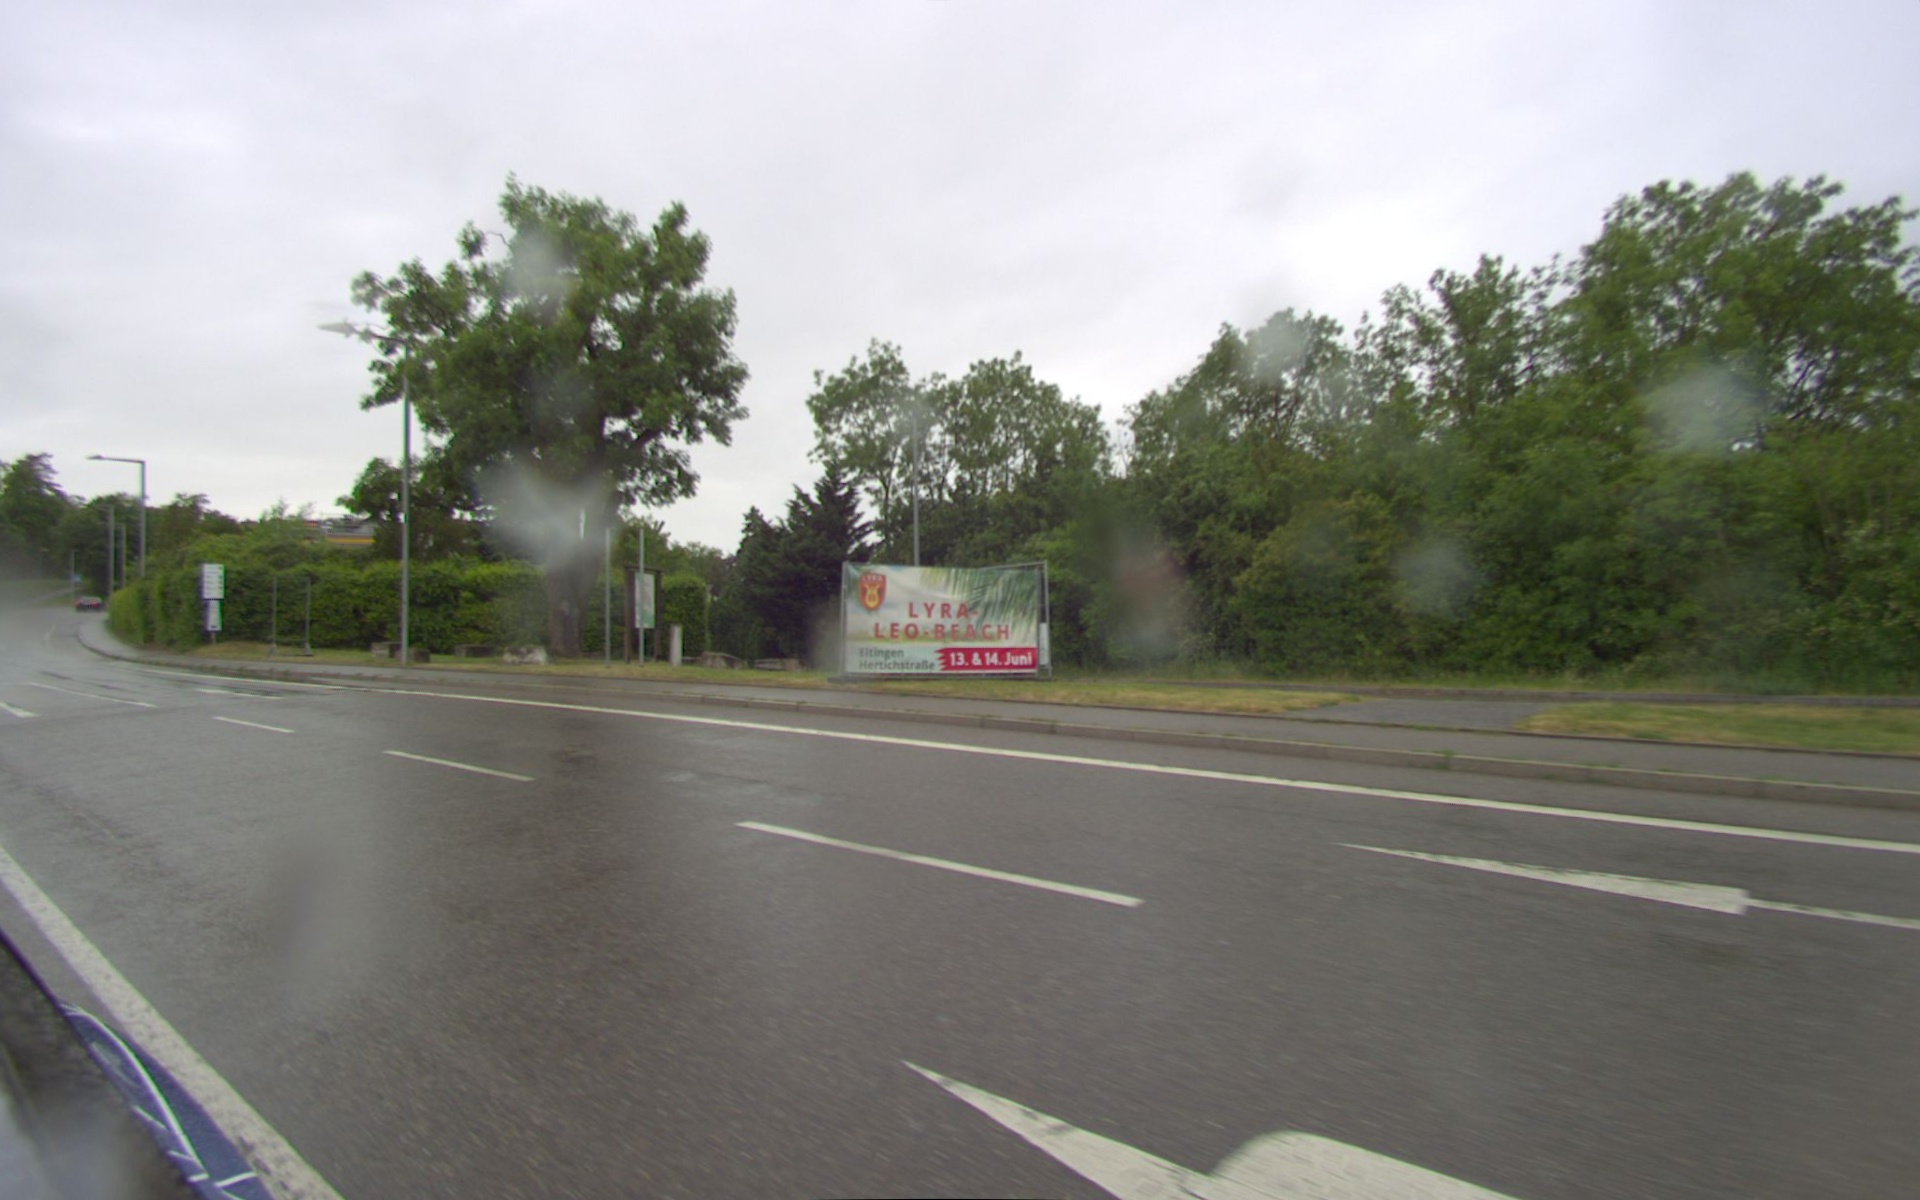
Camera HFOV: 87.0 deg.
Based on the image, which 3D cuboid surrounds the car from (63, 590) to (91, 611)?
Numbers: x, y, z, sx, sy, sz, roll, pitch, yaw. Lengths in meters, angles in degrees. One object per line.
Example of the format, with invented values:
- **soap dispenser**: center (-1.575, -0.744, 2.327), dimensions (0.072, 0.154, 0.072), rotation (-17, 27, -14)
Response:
- **car**: center (-85.797, 0.062, 98.352), dimensions (1.937, 2.029, 4.007), rotation (0, 0, -39)
